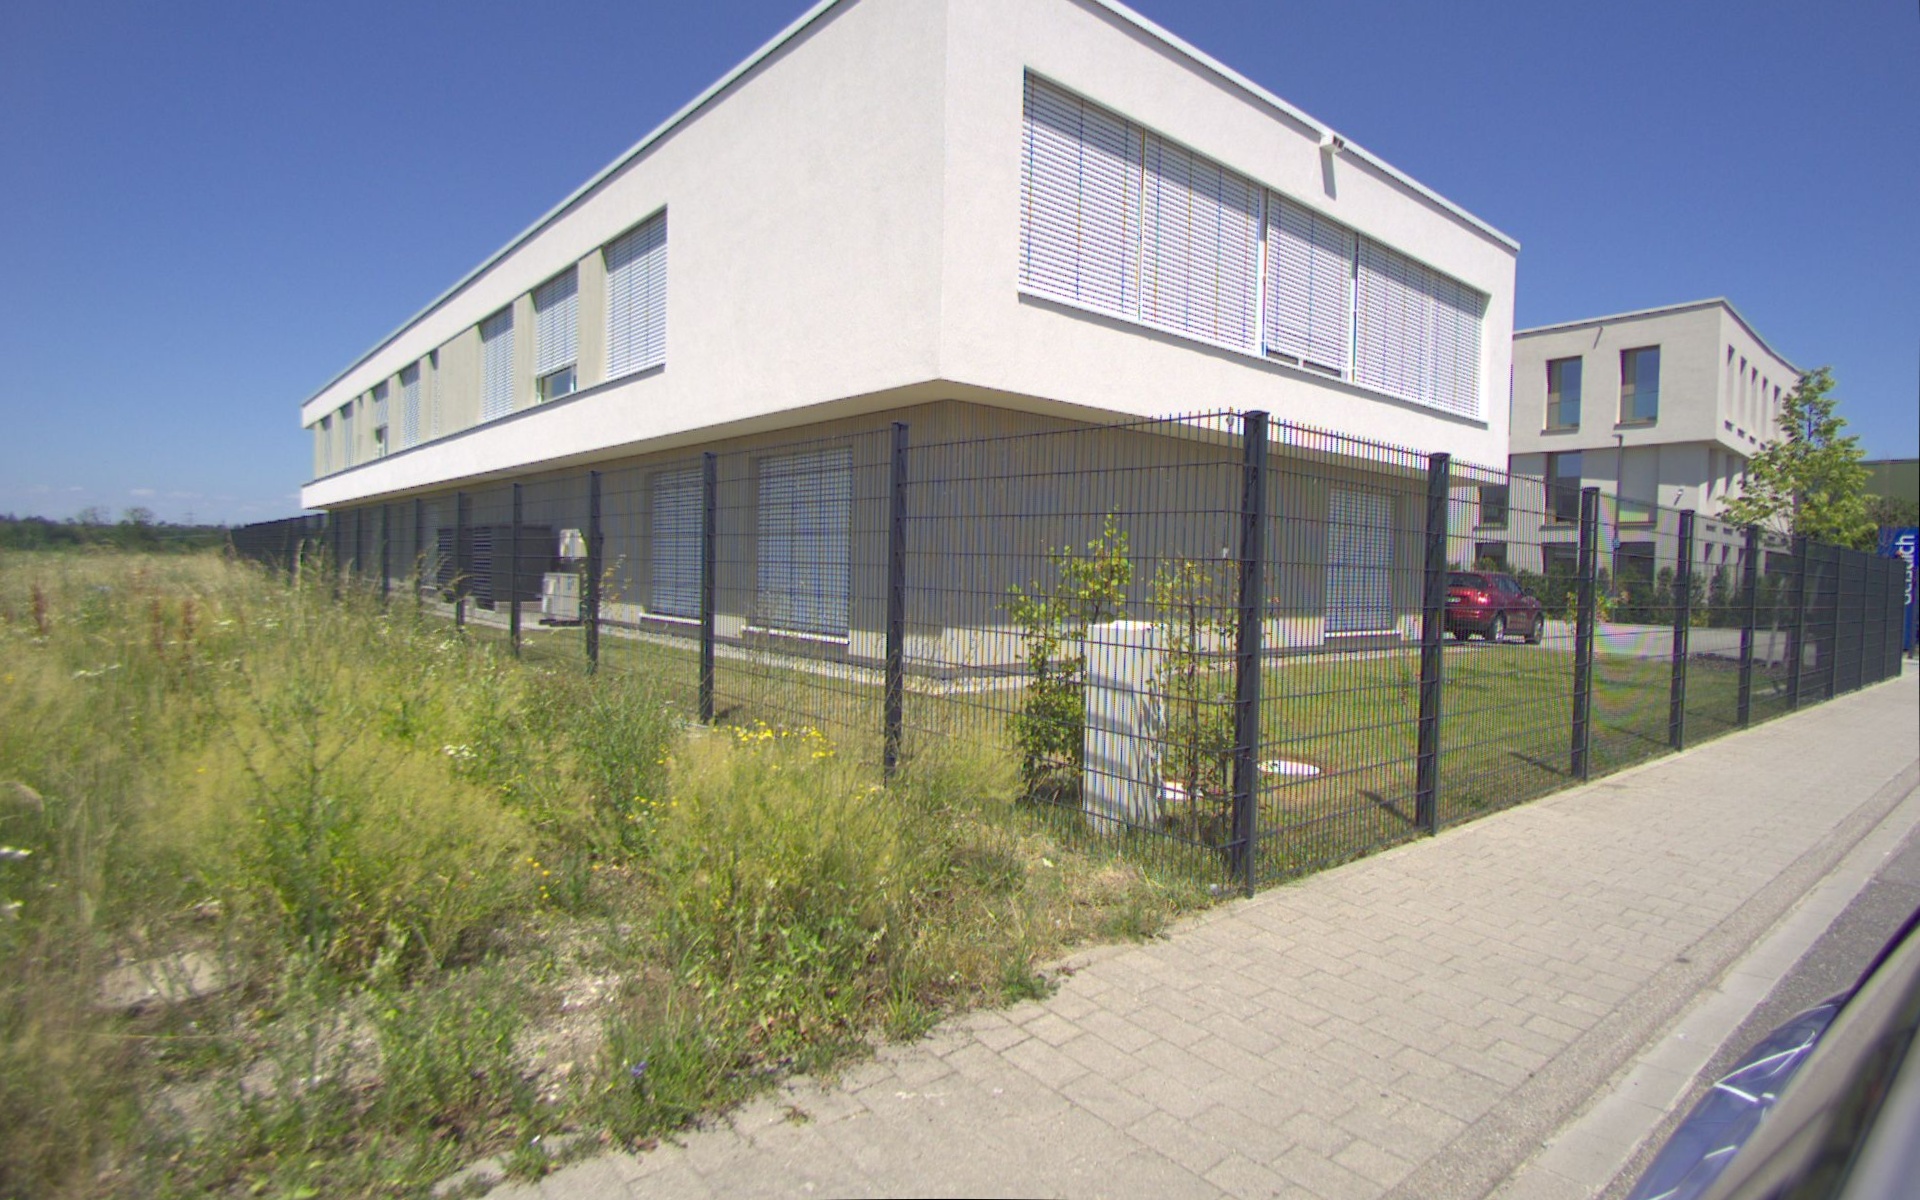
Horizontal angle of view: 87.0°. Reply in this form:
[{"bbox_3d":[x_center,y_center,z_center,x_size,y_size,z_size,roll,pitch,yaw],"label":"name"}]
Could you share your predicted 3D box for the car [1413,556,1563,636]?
[{"bbox_3d":[11.594,-0.077,22.109,4.009,1.577,1.670,2,1,-44],"label":"car"}]
